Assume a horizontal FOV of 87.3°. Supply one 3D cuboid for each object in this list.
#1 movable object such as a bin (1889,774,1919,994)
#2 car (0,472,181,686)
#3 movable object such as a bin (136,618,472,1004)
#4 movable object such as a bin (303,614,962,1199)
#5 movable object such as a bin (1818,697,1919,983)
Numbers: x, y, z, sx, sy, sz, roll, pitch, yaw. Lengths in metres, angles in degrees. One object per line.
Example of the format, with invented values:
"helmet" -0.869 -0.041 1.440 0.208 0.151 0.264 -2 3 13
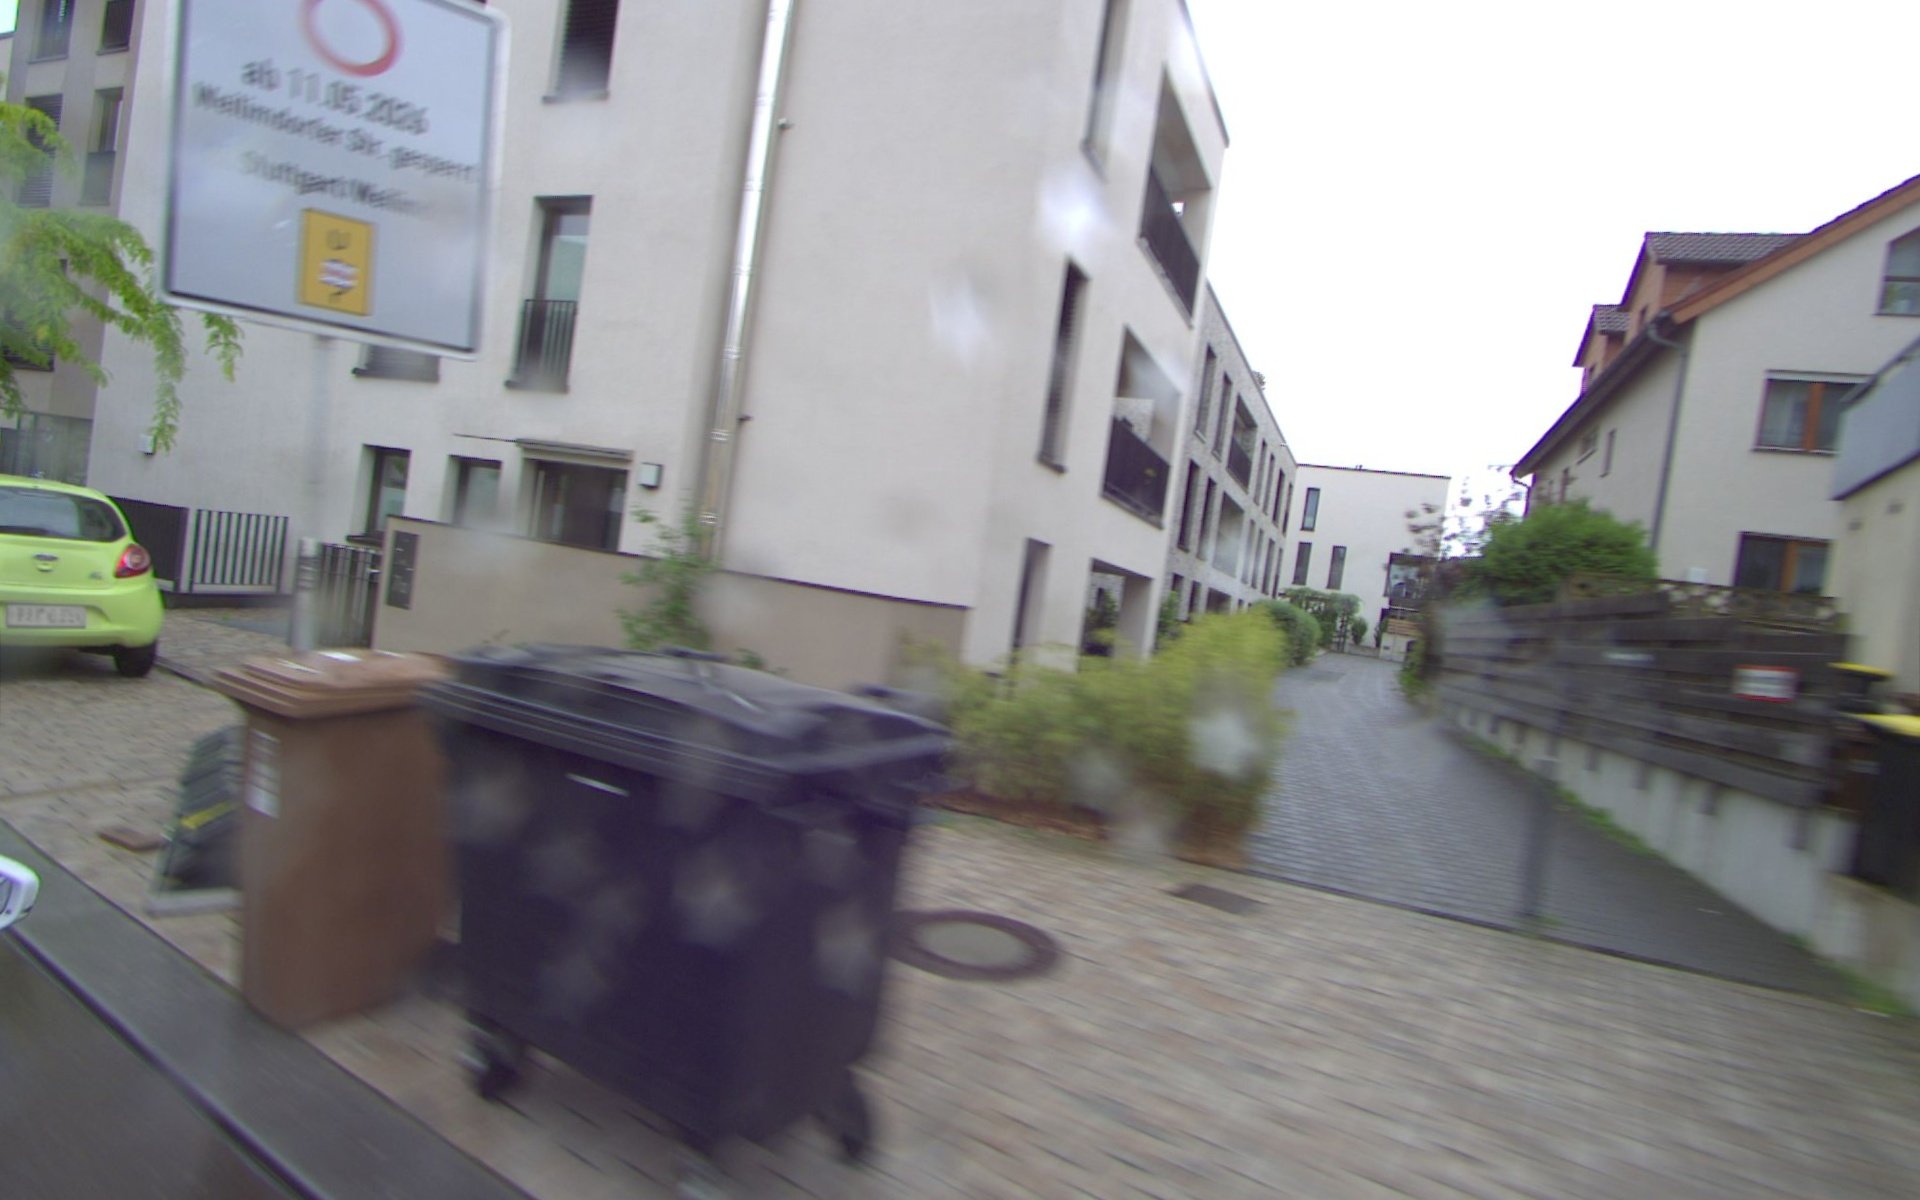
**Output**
"movable object such as a bin" 5.069 1.276 4.767 0.609 1.398 0.599 6 3 12
"car" -8.027 -0.297 8.318 3.249 1.504 1.602 8 3 36
"movable object such as a bin" -2.136 0.636 3.309 0.510 1.058 0.706 7 0 36
"movable object such as a bin" -0.896 0.731 2.649 1.516 1.187 0.767 7 0 33
"movable object such as a bin" 5.192 1.275 5.343 0.609 1.398 0.599 6 3 12
